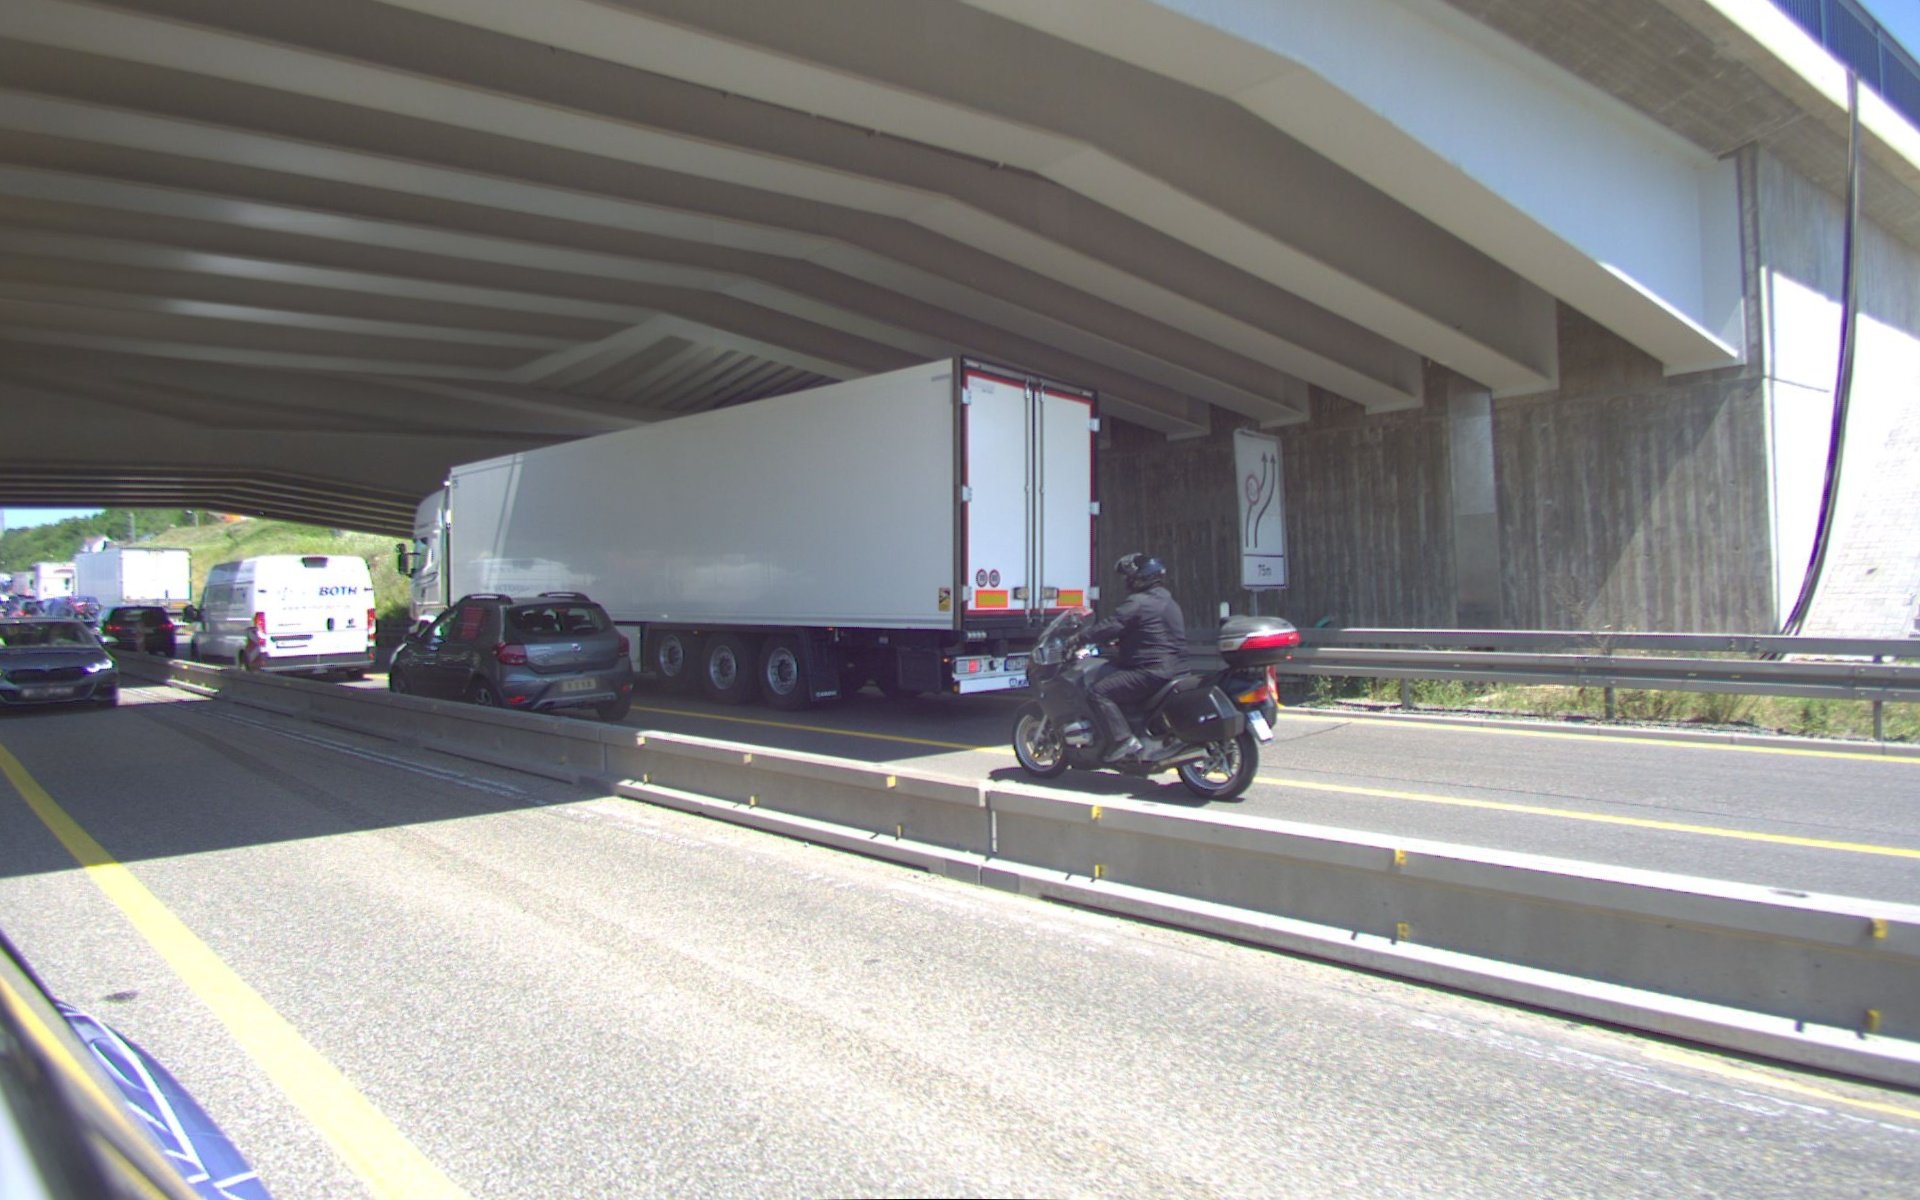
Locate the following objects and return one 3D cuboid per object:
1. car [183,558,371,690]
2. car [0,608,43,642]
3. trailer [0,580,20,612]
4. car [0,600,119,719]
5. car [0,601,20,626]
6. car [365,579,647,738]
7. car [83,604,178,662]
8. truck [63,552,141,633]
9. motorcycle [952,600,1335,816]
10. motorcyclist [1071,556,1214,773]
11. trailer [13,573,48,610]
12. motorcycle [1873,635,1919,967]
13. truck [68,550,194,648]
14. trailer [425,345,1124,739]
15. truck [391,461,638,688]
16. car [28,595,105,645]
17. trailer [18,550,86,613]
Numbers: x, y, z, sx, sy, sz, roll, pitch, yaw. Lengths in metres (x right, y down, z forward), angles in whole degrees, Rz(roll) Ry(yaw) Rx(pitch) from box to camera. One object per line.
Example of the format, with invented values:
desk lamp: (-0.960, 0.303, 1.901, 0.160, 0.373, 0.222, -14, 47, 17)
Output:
car: (-14.222, 0.425, 20.892, 6.059, 2.347, 1.959, 0, 1, 44)
car: (-49.340, 1.306, 52.844, 4.523, 1.621, 1.703, -1, 1, 43)
trailer: (-122.072, -0.578, 128.977, 11.275, 3.899, 2.571, 1, 2, 43)
car: (-14.564, 0.823, 15.750, 4.391, 1.609, 1.813, 0, 1, 44)
car: (-65.447, 0.888, 68.805, 4.773, 1.539, 1.835, 1, 2, 43)
car: (-5.805, 0.648, 12.714, 4.078, 1.683, 1.728, -2, 0, 42)
car: (-25.326, 0.956, 30.848, 4.142, 1.622, 1.729, 0, 1, 44)
truck: (-46.579, -0.440, 54.914, 5.187, 4.202, 2.630, 1, 2, 43)
motorcycle: (1.197, 0.678, 7.289, 2.734, 1.289, 0.695, -2, 0, 42)
motorcyclist: (1.296, 0.415, 7.184, 0.742, 1.427, 0.711, 1, 1, 41)
trailer: (-99.144, -0.984, 108.010, 2.624, 3.844, 11.835, -1, 2, -42)
motorcycle: (4.707, 0.720, 3.099, 2.789, 1.158, 0.824, -1, 0, 40)
truck: (-41.526, -0.175, 50.426, 13.486, 4.345, 2.740, 1, 2, 42)
trailer: (-4.281, -0.552, 16.339, 14.355, 4.070, 2.846, -1, 2, 42)
truck: (-9.301, -0.487, 20.960, 4.885, 4.081, 2.843, -1, 2, 43)
car: (-37.414, 0.789, 42.337, 4.966, 1.947, 1.781, 0, 1, 41)
trailer: (-64.976, -1.339, 72.351, 8.243, 4.205, 2.782, 1, 2, 43)
